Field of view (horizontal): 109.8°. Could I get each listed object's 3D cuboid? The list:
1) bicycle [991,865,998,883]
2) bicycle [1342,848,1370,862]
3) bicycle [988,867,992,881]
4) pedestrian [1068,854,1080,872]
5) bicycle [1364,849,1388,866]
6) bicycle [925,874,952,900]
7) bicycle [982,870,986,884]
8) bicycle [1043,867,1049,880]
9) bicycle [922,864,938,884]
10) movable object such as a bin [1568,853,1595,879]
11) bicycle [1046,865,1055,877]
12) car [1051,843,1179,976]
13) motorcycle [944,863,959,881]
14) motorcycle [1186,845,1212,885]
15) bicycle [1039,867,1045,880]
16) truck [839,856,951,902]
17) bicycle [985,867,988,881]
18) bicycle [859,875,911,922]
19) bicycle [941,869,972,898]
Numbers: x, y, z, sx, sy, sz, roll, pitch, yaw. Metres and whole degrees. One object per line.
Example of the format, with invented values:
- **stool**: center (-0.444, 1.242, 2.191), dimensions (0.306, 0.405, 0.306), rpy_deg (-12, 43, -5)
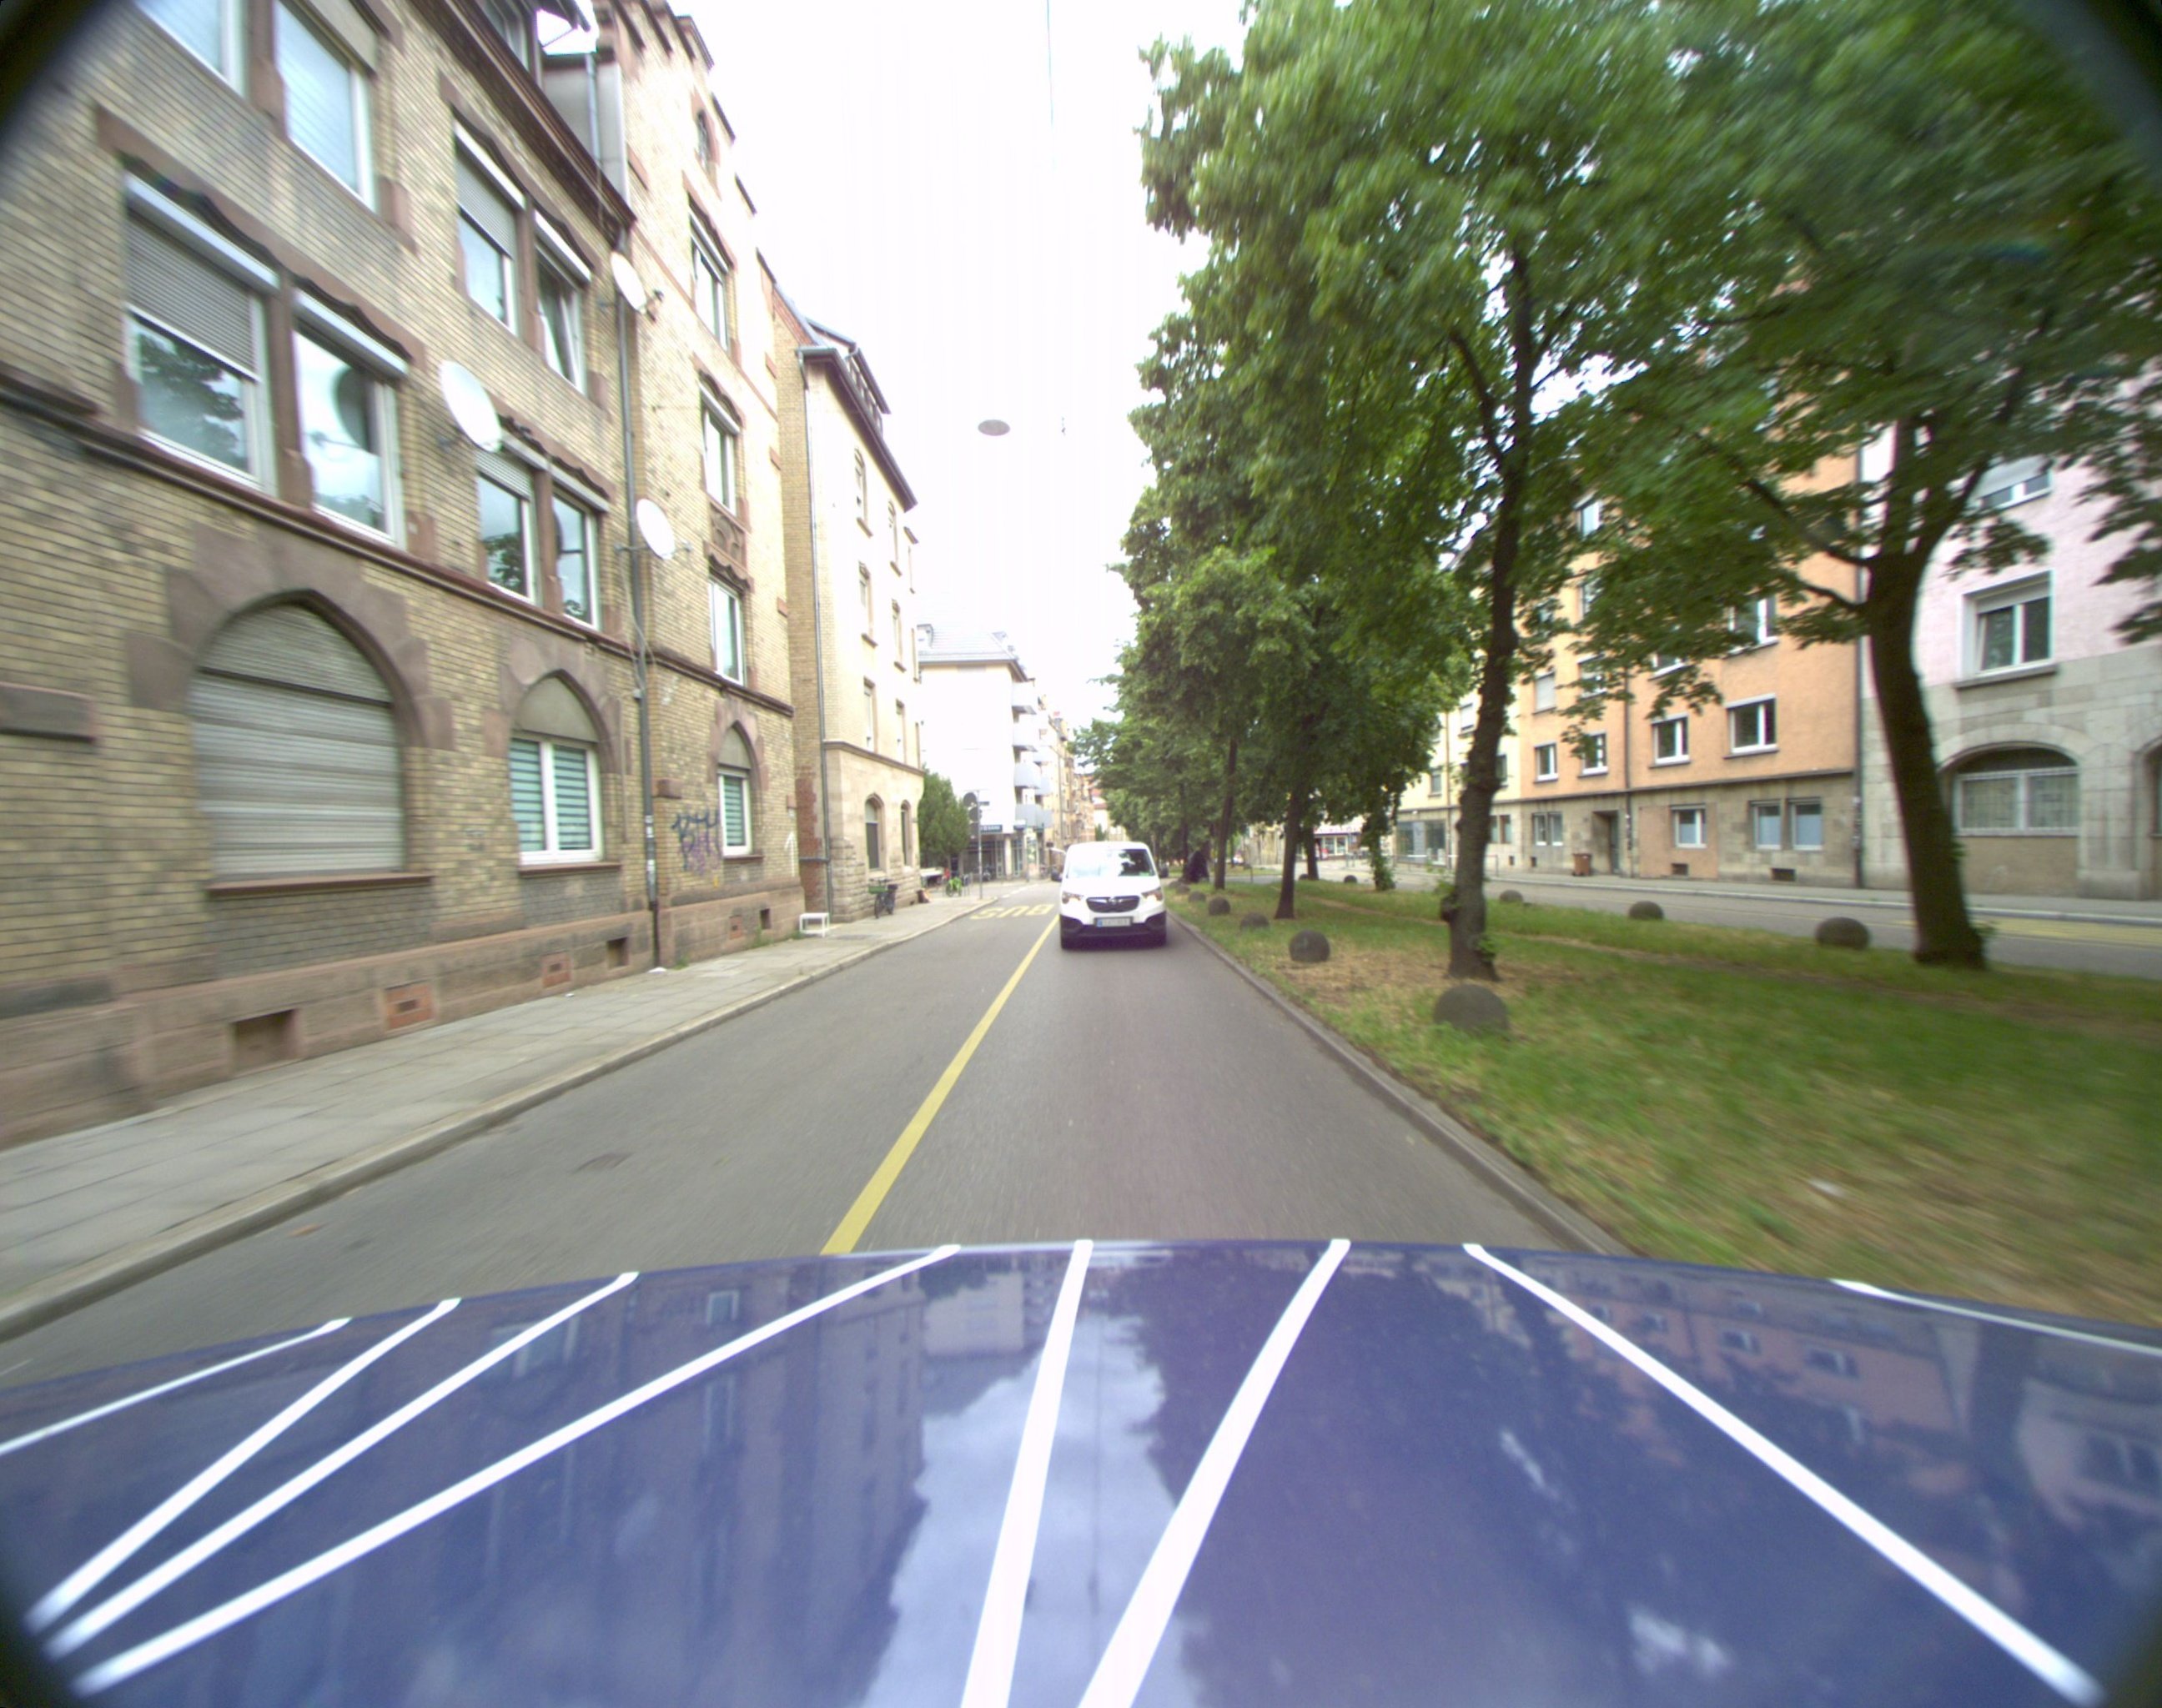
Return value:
- **bicycle**: center (-5.998, 1.360, 52.850), dimensions (0.400, 1.197, 1.284), rpy_deg (-4, 0, -5)
- **bicycle**: center (24.897, 0.069, 68.722), dimensions (2.345, 1.094, 0.775), rpy_deg (-3, 0, 21)
- **bicycle**: center (-6.188, 1.357, 51.687), dimensions (0.120, 0.902, 1.284), rpy_deg (-3, 0, -5)
- **pedestrian**: center (-0.792, 1.035, 86.293), dimensions (1.083, 2.002, 1.204), rpy_deg (-3, 0, 3)
- **bicycle**: center (22.135, 0.285, 57.021), dimensions (0.684, 1.142, 2.057), rpy_deg (-4, -1, -9)
- **bicycle**: center (-6.636, 1.529, 35.435), dimensions (0.683, 1.142, 2.059), rpy_deg (-4, -1, 3)
- **bicycle**: center (-6.756, 1.605, 52.763), dimensions (0.184, 0.902, 1.236), rpy_deg (-3, 0, -5)
- **bicycle**: center (-2.537, 1.403, 54.685), dimensions (0.154, 0.902, 1.286), rpy_deg (-3, 0, 7)
- **bicycle**: center (-10.062, 1.318, 50.578), dimensions (0.439, 1.248, 1.884), rpy_deg (-3, 0, 5)
- **movable object such as a bin**: center (18.961, 0.454, 28.789), dimensions (0.513, 0.921, 0.779), rpy_deg (-3, 0, 3)
- **bicycle**: center (-2.341, 1.282, 57.937), dimensions (0.442, 0.902, 1.286), rpy_deg (-3, 0, 7)
- **car**: center (0.605, 0.770, 12.979), dimensions (1.745, 1.830, 4.343), rpy_deg (-2, 1, 3)
- **motorcycle**: center (-8.590, 1.193, 50.468), dimensions (0.591, 1.190, 1.931), rpy_deg (0, 0, 3)
- **motorcycle**: center (4.764, 0.491, 30.799), dimensions (0.825, 1.520, 2.626), rpy_deg (0, -3, 4)
- **bicycle**: center (-2.794, 1.392, 54.703), dimensions (0.154, 0.902, 1.286), rpy_deg (-3, 0, 7)
- **truck**: center (-10.690, 1.448, 44.090), dimensions (5.858, 2.094, 2.554), rpy_deg (-4, -1, -5)
- **bicycle**: center (-6.455, 1.336, 51.926), dimensions (0.141, 0.902, 1.249), rpy_deg (-2, 1, -5)
- **bicycle**: center (-5.561, 1.238, 21.733), dimensions (0.683, 1.143, 2.483), rpy_deg (-2, 1, 3)
- **bicycle**: center (-5.338, 1.247, 32.750), dimensions (0.683, 1.142, 2.941), rpy_deg (-2, -1, 3)
